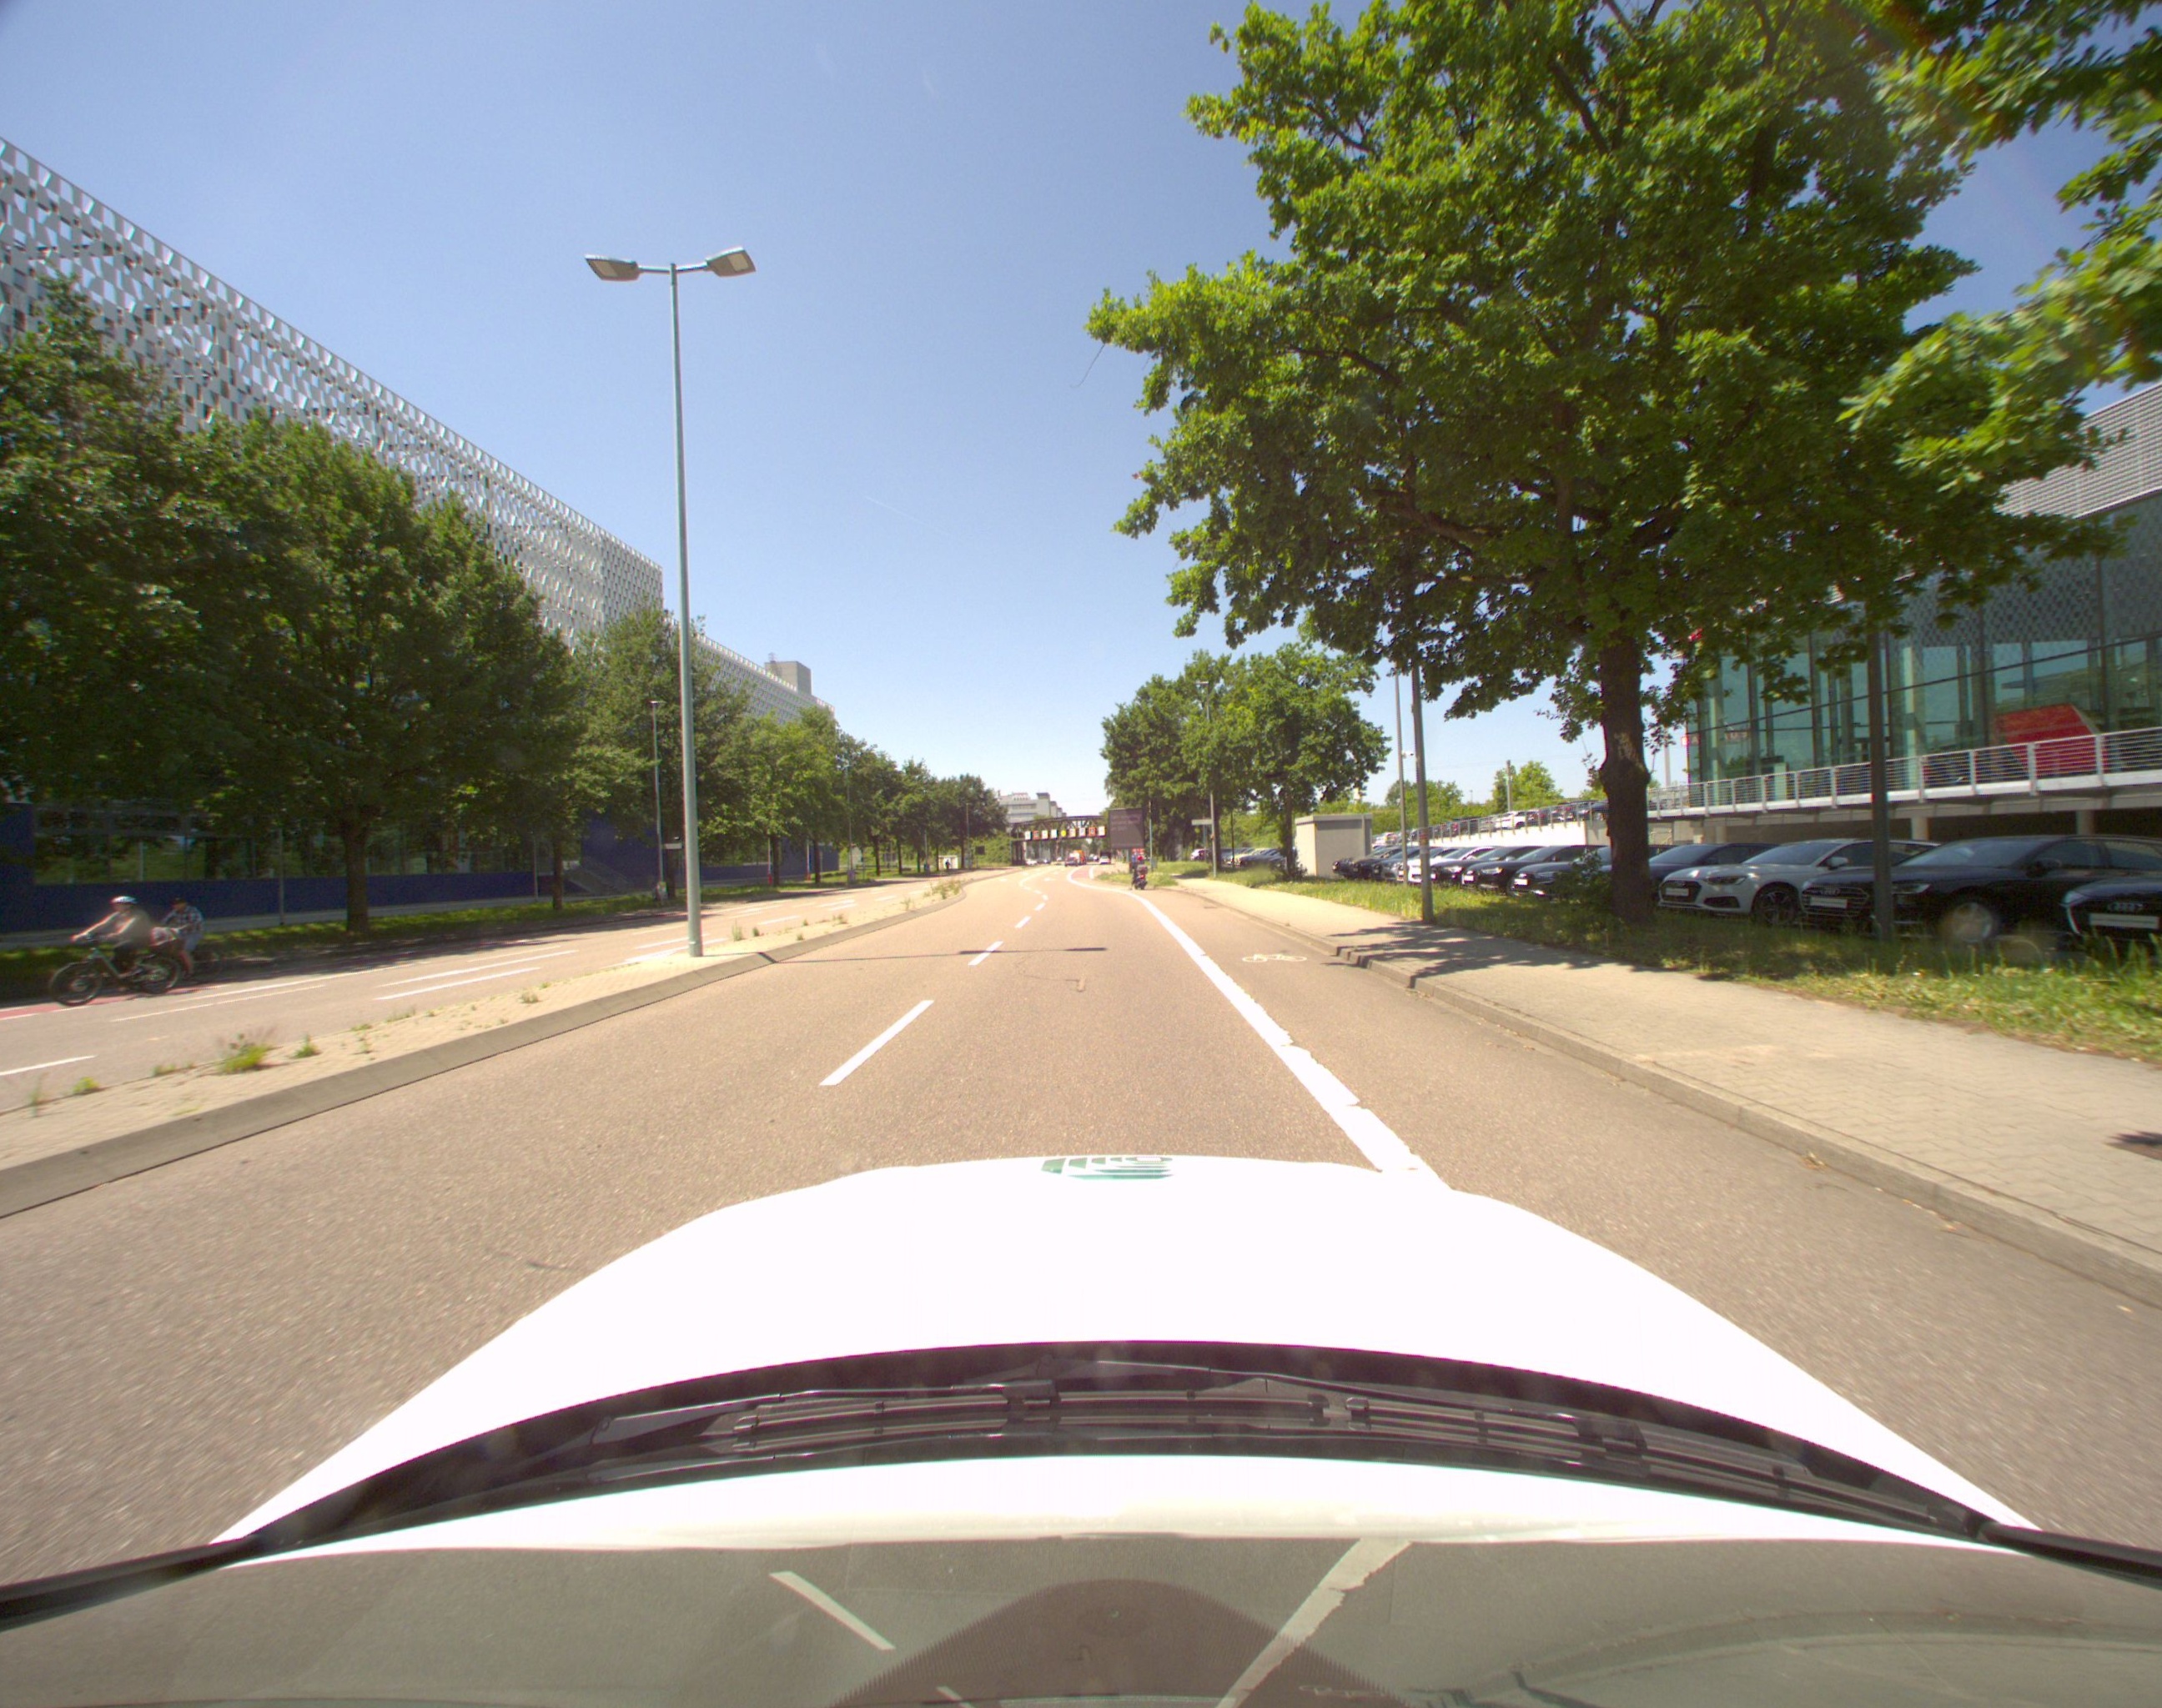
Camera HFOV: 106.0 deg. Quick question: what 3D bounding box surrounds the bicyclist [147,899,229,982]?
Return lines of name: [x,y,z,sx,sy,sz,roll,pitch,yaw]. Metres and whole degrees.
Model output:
bicyclist: [-18.129,1.739,16.546,0.634,1.582,0.885,-2,0,3]

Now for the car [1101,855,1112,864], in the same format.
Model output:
car: [4.516,0.971,143.960,1.918,1.420,4.000,-2,0,0]

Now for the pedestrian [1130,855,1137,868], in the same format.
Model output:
pedestrian: [5.567,0.813,86.834,0.622,1.374,0.564,-2,0,-1]

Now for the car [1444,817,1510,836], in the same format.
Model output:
car: [29.124,-2.010,59.944,3.978,1.312,1.795,0,0,-4]

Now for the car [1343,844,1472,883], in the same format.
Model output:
car: [12.426,0.362,31.179,4.206,1.342,1.918,2,0,1]

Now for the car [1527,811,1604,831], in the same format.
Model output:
car: [29.112,-1.978,48.966,3.716,1.130,1.682,0,0,-4]

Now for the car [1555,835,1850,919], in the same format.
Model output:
car: [11.766,0.414,15.649,4.206,1.407,1.918,2,0,1]

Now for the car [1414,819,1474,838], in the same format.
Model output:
car: [29.128,-2.045,65.355,3.978,1.312,1.795,-2,0,-4]

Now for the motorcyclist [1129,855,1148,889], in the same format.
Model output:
motorcyclist: [2.627,0.838,37.320,0.719,1.529,0.868,-1,-1,-9]

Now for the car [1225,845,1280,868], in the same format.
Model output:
car: [13.553,0.225,64.389,3.852,1.604,1.795,3,-1,-3]

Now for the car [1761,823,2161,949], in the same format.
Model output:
car: [11.775,0.395,10.621,4.206,1.407,1.918,2,0,1]

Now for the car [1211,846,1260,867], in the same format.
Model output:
car: [13.518,0.231,71.210,3.852,1.604,1.795,3,-1,-3]

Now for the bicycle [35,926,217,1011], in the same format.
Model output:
bicycle: [-16.685,1.959,14.327,0.627,1.159,2.117,-4,0,1]

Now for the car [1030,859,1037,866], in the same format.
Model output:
car: [-13.080,2.243,222.497,1.711,1.732,3.805,-2,0,-1]

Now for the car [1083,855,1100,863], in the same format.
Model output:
car: [2.520,1.249,199.336,3.967,1.750,1.896,-2,0,6]

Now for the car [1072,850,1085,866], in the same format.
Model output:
car: [-0.433,0.696,148.068,2.066,2.854,6.765,-2,0,1]

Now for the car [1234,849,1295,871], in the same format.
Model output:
car: [13.271,0.424,59.071,3.978,1.423,1.795,3,0,-3]

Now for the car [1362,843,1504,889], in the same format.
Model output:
car: [12.358,0.421,28.800,4.206,1.452,1.918,2,0,1]

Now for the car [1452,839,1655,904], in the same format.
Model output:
car: [11.976,0.430,20.826,4.115,1.380,1.779,3,0,1]

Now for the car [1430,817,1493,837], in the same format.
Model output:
car: [29.247,-2.049,62.649,3.978,1.311,1.795,-2,0,-4]

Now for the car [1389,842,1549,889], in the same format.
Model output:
car: [12.344,0.349,26.121,4.206,1.342,1.918,2,0,1]

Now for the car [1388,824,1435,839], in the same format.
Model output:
car: [29.385,-1.999,72.483,3.513,1.239,1.541,0,0,-1]

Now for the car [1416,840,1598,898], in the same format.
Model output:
car: [12.168,0.427,23.465,4.206,1.385,1.918,3,0,1]

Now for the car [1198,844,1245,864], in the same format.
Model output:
car: [12.821,0.021,74.477,3.852,1.604,1.795,3,-1,-3]

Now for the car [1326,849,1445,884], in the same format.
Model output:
car: [12.528,0.500,33.713,4.206,1.342,1.918,1,0,1]

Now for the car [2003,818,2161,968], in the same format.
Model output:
car: [11.927,0.411,7.726,4.206,1.356,1.879,2,0,1]

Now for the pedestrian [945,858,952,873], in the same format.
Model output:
pedestrian: [-17.613,1.544,108.155,0.741,1.884,0.578,-2,-1,1]

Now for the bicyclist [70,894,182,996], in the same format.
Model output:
bicyclist: [-16.705,1.563,14.272,0.631,1.628,1.044,-4,0,0]

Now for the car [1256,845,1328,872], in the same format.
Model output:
car: [13.199,0.285,51.167,3.978,1.440,1.795,3,0,-3]

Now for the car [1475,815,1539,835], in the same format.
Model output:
car: [28.842,-1.964,55.153,3.516,1.239,1.675,0,0,-3]

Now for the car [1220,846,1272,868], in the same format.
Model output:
car: [13.490,0.224,66.712,3.852,1.604,1.795,3,-1,-3]

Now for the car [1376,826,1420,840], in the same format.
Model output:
car: [29.333,-1.942,75.454,3.512,1.239,1.541,0,0,0]

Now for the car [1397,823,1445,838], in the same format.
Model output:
car: [29.428,-2.015,70.584,3.513,1.239,1.610,0,0,-1]

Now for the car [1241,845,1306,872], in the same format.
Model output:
car: [13.228,0.302,56.181,3.978,1.624,1.795,3,-1,-3]

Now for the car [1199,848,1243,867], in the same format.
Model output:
car: [13.256,0.316,77.280,3.852,1.604,1.795,2,0,-3]

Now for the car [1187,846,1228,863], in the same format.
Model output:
car: [13.222,0.036,85.342,3.852,1.604,1.795,3,-1,-3]

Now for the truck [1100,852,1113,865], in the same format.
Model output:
truck: [4.929,0.768,156.950,2.450,2.410,7.135,0,0,1]

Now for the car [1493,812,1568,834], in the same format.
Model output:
car: [28.828,-1.980,52.278,3.930,1.211,1.715,-1,0,-4]

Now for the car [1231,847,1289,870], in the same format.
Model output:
car: [13.549,0.367,61.747,3.852,1.503,1.795,3,-1,-3]

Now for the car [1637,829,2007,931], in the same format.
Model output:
car: [11.715,0.392,13.126,4.206,1.407,1.918,2,0,1]

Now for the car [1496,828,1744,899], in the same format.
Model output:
car: [11.878,0.205,18.169,4.206,1.369,1.989,2,0,1]

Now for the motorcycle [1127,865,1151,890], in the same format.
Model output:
motorcycle: [2.639,1.059,37.245,0.716,1.105,1.825,-1,-1,-8]

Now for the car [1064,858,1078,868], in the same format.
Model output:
car: [-1.431,1.372,120.973,1.894,1.376,4.231,-2,0,0]

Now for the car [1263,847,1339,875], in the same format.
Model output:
car: [13.013,0.413,48.379,3.978,1.377,1.795,3,0,-3]

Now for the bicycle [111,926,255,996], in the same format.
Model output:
bicycle: [-18.114,2.124,16.504,0.634,1.133,1.972,-2,0,4]

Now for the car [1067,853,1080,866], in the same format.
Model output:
car: [-1.217,0.838,130.256,1.987,2.013,4.000,-1,0,0]

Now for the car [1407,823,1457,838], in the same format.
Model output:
car: [29.303,-1.967,68.112,3.513,1.239,1.610,0,0,-1]
